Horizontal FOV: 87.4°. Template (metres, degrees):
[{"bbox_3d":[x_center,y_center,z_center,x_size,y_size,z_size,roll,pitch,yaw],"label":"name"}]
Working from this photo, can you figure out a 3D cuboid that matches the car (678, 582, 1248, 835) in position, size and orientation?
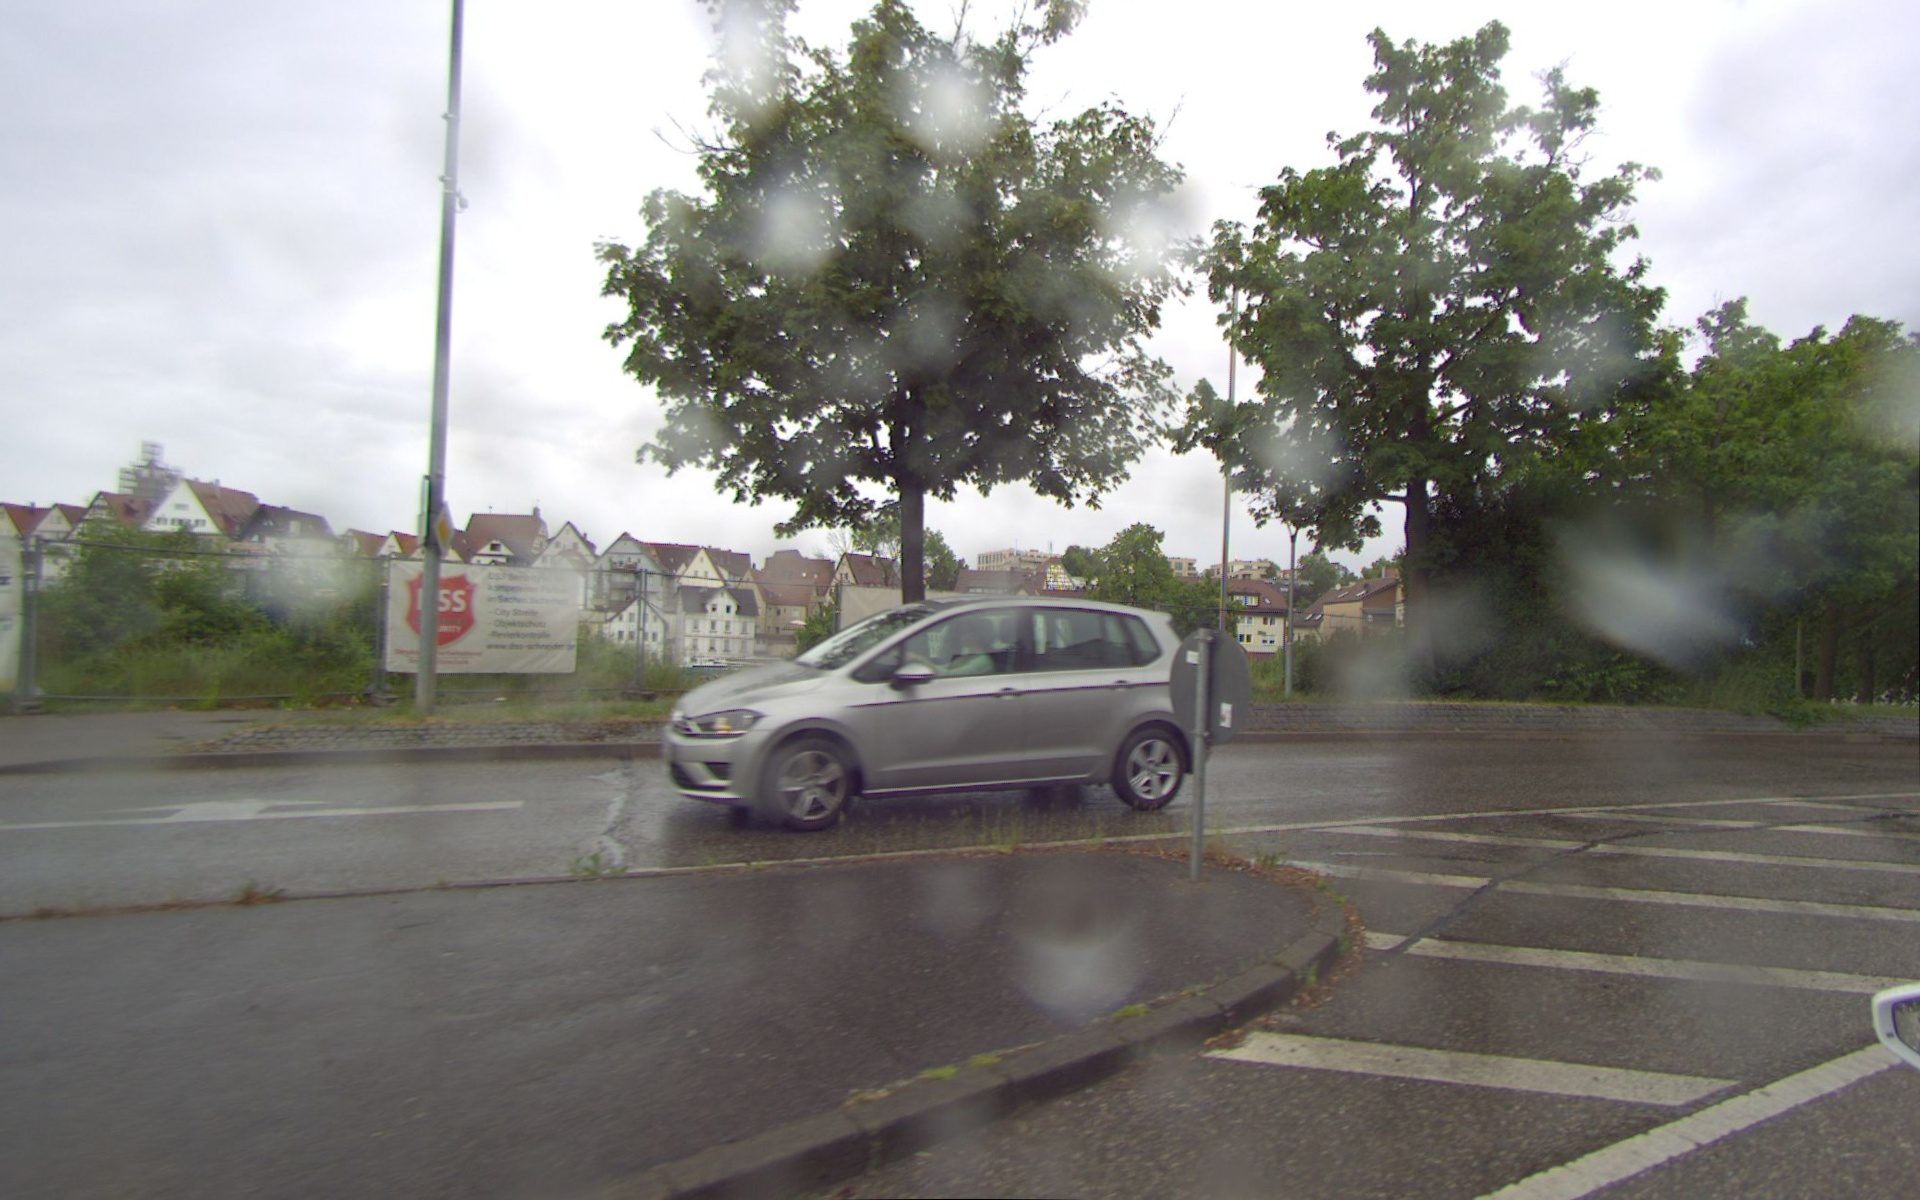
[{"bbox_3d":[0.034,0.759,7.801,4.095,1.572,1.640,2,-1,-22],"label":"car"}]
